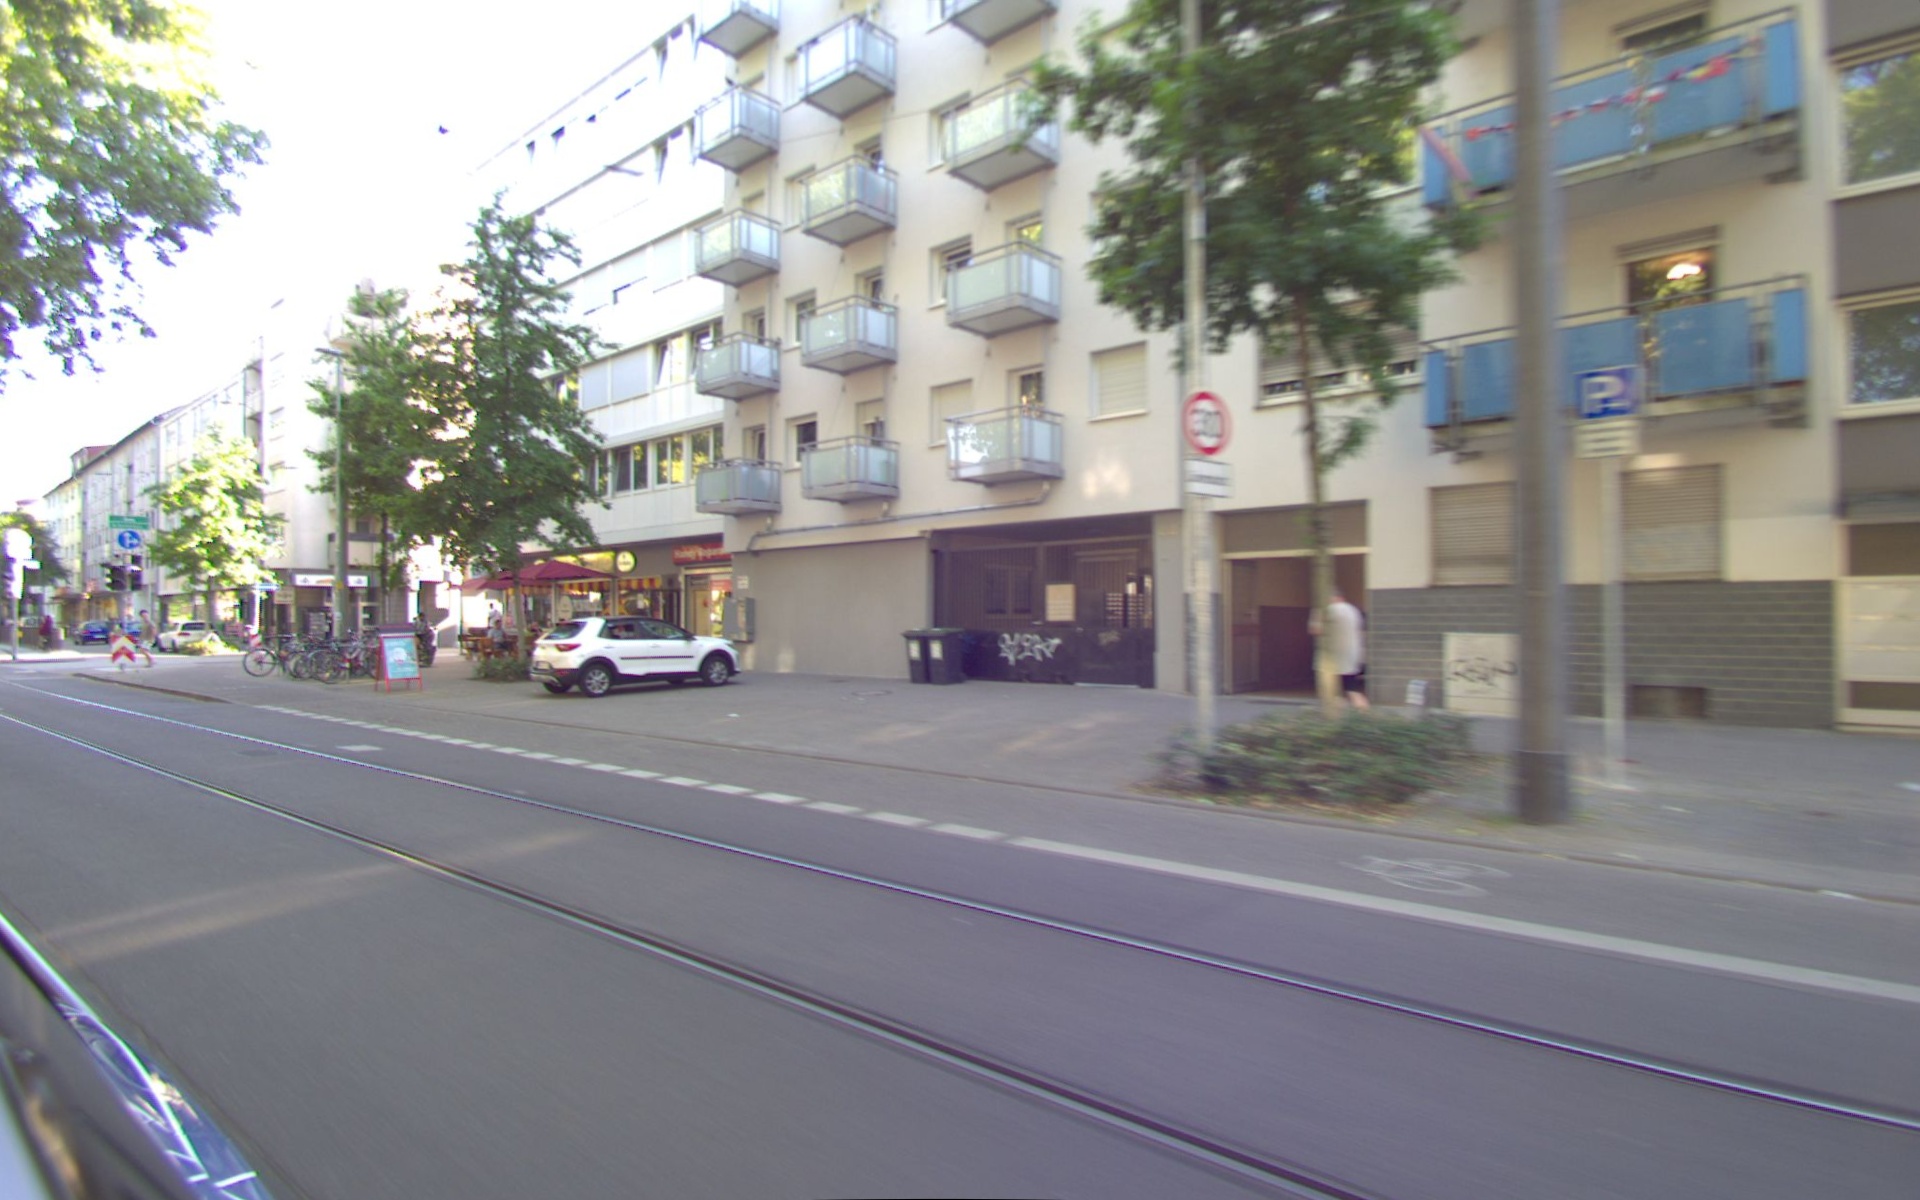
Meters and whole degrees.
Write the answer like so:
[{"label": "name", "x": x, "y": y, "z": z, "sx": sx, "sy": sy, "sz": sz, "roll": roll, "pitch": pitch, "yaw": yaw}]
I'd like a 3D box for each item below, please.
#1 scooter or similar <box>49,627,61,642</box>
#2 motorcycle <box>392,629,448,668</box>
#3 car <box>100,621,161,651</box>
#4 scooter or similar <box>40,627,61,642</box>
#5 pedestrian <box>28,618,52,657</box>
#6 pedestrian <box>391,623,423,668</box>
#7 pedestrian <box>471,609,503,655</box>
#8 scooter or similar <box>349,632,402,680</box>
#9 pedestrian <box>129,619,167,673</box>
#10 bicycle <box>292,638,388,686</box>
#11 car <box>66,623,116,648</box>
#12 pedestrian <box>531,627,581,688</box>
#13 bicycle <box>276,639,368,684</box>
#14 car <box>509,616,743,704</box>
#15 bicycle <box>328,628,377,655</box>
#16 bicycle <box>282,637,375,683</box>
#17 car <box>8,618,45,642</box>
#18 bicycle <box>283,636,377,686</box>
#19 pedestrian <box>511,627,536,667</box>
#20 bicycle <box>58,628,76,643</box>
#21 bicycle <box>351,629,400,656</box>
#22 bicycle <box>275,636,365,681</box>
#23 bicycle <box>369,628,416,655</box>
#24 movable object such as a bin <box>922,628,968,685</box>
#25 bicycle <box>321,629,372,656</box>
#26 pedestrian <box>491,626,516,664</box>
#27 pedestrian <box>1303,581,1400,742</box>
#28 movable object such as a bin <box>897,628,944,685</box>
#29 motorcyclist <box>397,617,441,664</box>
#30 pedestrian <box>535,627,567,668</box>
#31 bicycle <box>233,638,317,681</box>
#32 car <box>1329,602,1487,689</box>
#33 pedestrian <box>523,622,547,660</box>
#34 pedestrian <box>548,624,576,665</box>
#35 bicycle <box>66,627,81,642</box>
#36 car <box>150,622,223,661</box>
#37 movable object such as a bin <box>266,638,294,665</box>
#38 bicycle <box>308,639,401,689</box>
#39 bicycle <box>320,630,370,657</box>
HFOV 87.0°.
[{"label": "scooter or similar", "x": -71.041, "y": 2.724, "z": 79.469, "sx": 1.273, "sy": 1.183, "sz": 0.440, "roll": -1, "pitch": -2, "yaw": 37}, {"label": "motorcycle", "x": -16.976, "y": 1.513, "z": 31.820, "sx": 1.912, "sy": 1.173, "sz": 0.841, "roll": -1, "pitch": -2, "yaw": 38}, {"label": "car", "x": -45.362, "y": 1.970, "z": 55.313, "sx": 4.387, "sy": 1.556, "sz": 1.935, "roll": -1, "pitch": -3, "yaw": 42}, {"label": "scooter or similar", "x": -72.112, "y": 2.748, "z": 80.246, "sx": 1.259, "sy": 1.183, "sz": 0.445, "roll": 0, "pitch": -2, "yaw": 5}, {"label": "pedestrian", "x": -38.502, "y": 1.573, "z": 42.360, "sx": 0.772, "sy": 1.597, "sz": 0.647, "roll": -1, "pitch": -2, "yaw": 42}, {"label": "pedestrian", "x": -19.584, "y": 1.584, "z": 35.822, "sx": 0.767, "sy": 1.568, "sz": 0.718, "roll": -1, "pitch": -2, "yaw": 36}, {"label": "pedestrian", "x": -17.302, "y": 1.174, "z": 37.015, "sx": 0.745, "sy": 1.672, "sz": 0.763, "roll": -1, "pitch": -2, "yaw": 23}, {"label": "scooter or similar", "x": -15.011, "y": 1.428, "z": 26.016, "sx": 0.498, "sy": 1.185, "sz": 1.068, "roll": -1, "pitch": 0, "yaw": 40}, {"label": "pedestrian", "x": -25.554, "y": 1.434, "z": 31.856, "sx": 0.767, "sy": 1.684, "sz": 0.750, "roll": -1, "pitch": -2, "yaw": 36}, {"label": "bicycle", "x": -14.558, "y": 1.437, "z": 23.812, "sx": 0.657, "sy": 1.015, "sz": 1.812, "roll": -1, "pitch": 0, "yaw": 36}, {"label": "car", "x": -53.842, "y": 2.210, "z": 62.662, "sx": 4.281, "sy": 1.475, "sz": 1.775, "roll": -1, "pitch": -3, "yaw": 42}, {"label": "pedestrian", "x": -8.849, "y": 1.254, "z": 22.187, "sx": 0.744, "sy": 1.307, "sz": 0.708, "roll": -1, "pitch": -2, "yaw": 28}, {"label": "bicycle", "x": -15.803, "y": 1.499, "z": 25.100, "sx": 0.657, "sy": 1.015, "sz": 1.812, "roll": -1, "pitch": 0, "yaw": 36}, {"label": "car", "x": -6.450, "y": 1.085, "z": 19.819, "sx": 1.852, "sy": 1.486, "sz": 3.968, "roll": -1, "pitch": 0, "yaw": 44}, {"label": "bicycle", "x": -26.320, "y": 1.803, "z": 43.871, "sx": 1.759, "sy": 1.165, "sz": 0.574, "roll": 0, "pitch": -2, "yaw": -17}, {"label": "bicycle", "x": -15.344, "y": 1.449, "z": 24.645, "sx": 0.657, "sy": 1.015, "sz": 1.812, "roll": -1, "pitch": 0, "yaw": 36}, {"label": "car", "x": -78.727, "y": 2.517, "z": 85.306, "sx": 4.047, "sy": 1.949, "sz": 1.785, "roll": -1, "pitch": -2, "yaw": 40}, {"label": "bicycle", "x": -15.147, "y": 1.446, "z": 24.385, "sx": 0.657, "sy": 1.072, "sz": 1.812, "roll": -1, "pitch": 0, "yaw": 36}, {"label": "pedestrian", "x": -13.518, "y": 1.456, "z": 31.344, "sx": 0.564, "sy": 1.207, "sz": 0.506, "roll": -2, "pitch": -2, "yaw": 43}, {"label": "bicycle", "x": -69.286, "y": 2.769, "z": 78.522, "sx": 2.033, "sy": 1.165, "sz": 0.565, "roll": -1, "pitch": -2, "yaw": 36}, {"label": "bicycle", "x": -25.683, "y": 1.842, "z": 44.476, "sx": 1.759, "sy": 1.165, "sz": 0.574, "roll": 0, "pitch": -2, "yaw": -17}, {"label": "bicycle", "x": -16.072, "y": 1.454, "z": 25.463, "sx": 0.657, "sy": 1.015, "sz": 1.812, "roll": -1, "pitch": 0, "yaw": 36}, {"label": "bicycle", "x": -25.483, "y": 1.857, "z": 45.480, "sx": 1.760, "sy": 1.165, "sz": 0.573, "roll": 1, "pitch": -2, "yaw": -38}, {"label": "movable object such as a bin", "x": -0.289, "y": 1.064, "z": 19.198, "sx": 0.574, "sy": 1.063, "sz": 0.665, "roll": -2, "pitch": -2, "yaw": 43}, {"label": "bicycle", "x": -27.009, "y": 1.869, "z": 44.594, "sx": 1.837, "sy": 1.165, "sz": 0.572, "roll": 1, "pitch": -2, "yaw": -44}, {"label": "pedestrian", "x": -14.688, "y": 1.456, "z": 32.569, "sx": 0.560, "sy": 1.207, "sz": 0.509, "roll": -1, "pitch": -2, "yaw": 25}, {"label": "pedestrian", "x": 4.365, "y": 0.662, "z": 11.287, "sx": 0.794, "sy": 1.704, "sz": 0.756, "roll": -1, "pitch": -2, "yaw": 40}, {"label": "movable object such as a bin", "x": -0.762, "y": 1.083, "z": 19.627, "sx": 0.622, "sy": 1.063, "sz": 0.670, "roll": -2, "pitch": -2, "yaw": 43}, {"label": "motorcyclist", "x": -17.025, "y": 1.255, "z": 31.853, "sx": 1.014, "sy": 1.451, "sz": 0.865, "roll": -1, "pitch": -2, "yaw": 38}, {"label": "pedestrian", "x": -12.359, "y": 1.434, "z": 30.572, "sx": 0.684, "sy": 1.207, "sz": 0.601, "roll": 0, "pitch": -2, "yaw": 7}, {"label": "bicycle", "x": -17.575, "y": 1.510, "z": 25.989, "sx": 0.657, "sy": 1.015, "sz": 1.675, "roll": -1, "pitch": 0, "yaw": 36}, {"label": "car", "x": 8.802, "y": 0.804, "z": 19.722, "sx": 1.850, "sy": 1.486, "sz": 3.973, "roll": -1, "pitch": 0, "yaw": 39}, {"label": "pedestrian", "x": -13.798, "y": 1.332, "z": 32.843, "sx": 0.507, "sy": 1.207, "sz": 0.562, "roll": 0, "pitch": -2, "yaw": 7}, {"label": "pedestrian", "x": -11.771, "y": 1.306, "z": 29.933, "sx": 0.558, "sy": 1.207, "sz": 0.511, "roll": 0, "pitch": -2, "yaw": 13}, {"label": "bicycle", "x": -67.760, "y": 2.646, "z": 77.341, "sx": 1.748, "sy": 1.165, "sz": 0.488, "roll": -1, "pitch": -2, "yaw": 36}, {"label": "car", "x": -36.238, "y": 1.927, "z": 47.362, "sx": 4.355, "sy": 1.663, "sz": 1.859, "roll": -1, "pitch": 0, "yaw": 41}, {"label": "movable object such as a bin", "x": -23.802, "y": 1.788, "z": 35.431, "sx": 0.646, "sy": 0.939, "sz": 0.536, "roll": -1, "pitch": -2, "yaw": 25}, {"label": "bicycle", "x": -13.635, "y": 1.423, "z": 22.826, "sx": 0.657, "sy": 1.015, "sz": 1.675, "roll": -1, "pitch": 0, "yaw": 36}, {"label": "bicycle", "x": -27.626, "y": 1.941, "z": 45.485, "sx": 0.567, "sy": 1.165, "sz": 2.024, "roll": -1, "pitch": -2, "yaw": 19}]
